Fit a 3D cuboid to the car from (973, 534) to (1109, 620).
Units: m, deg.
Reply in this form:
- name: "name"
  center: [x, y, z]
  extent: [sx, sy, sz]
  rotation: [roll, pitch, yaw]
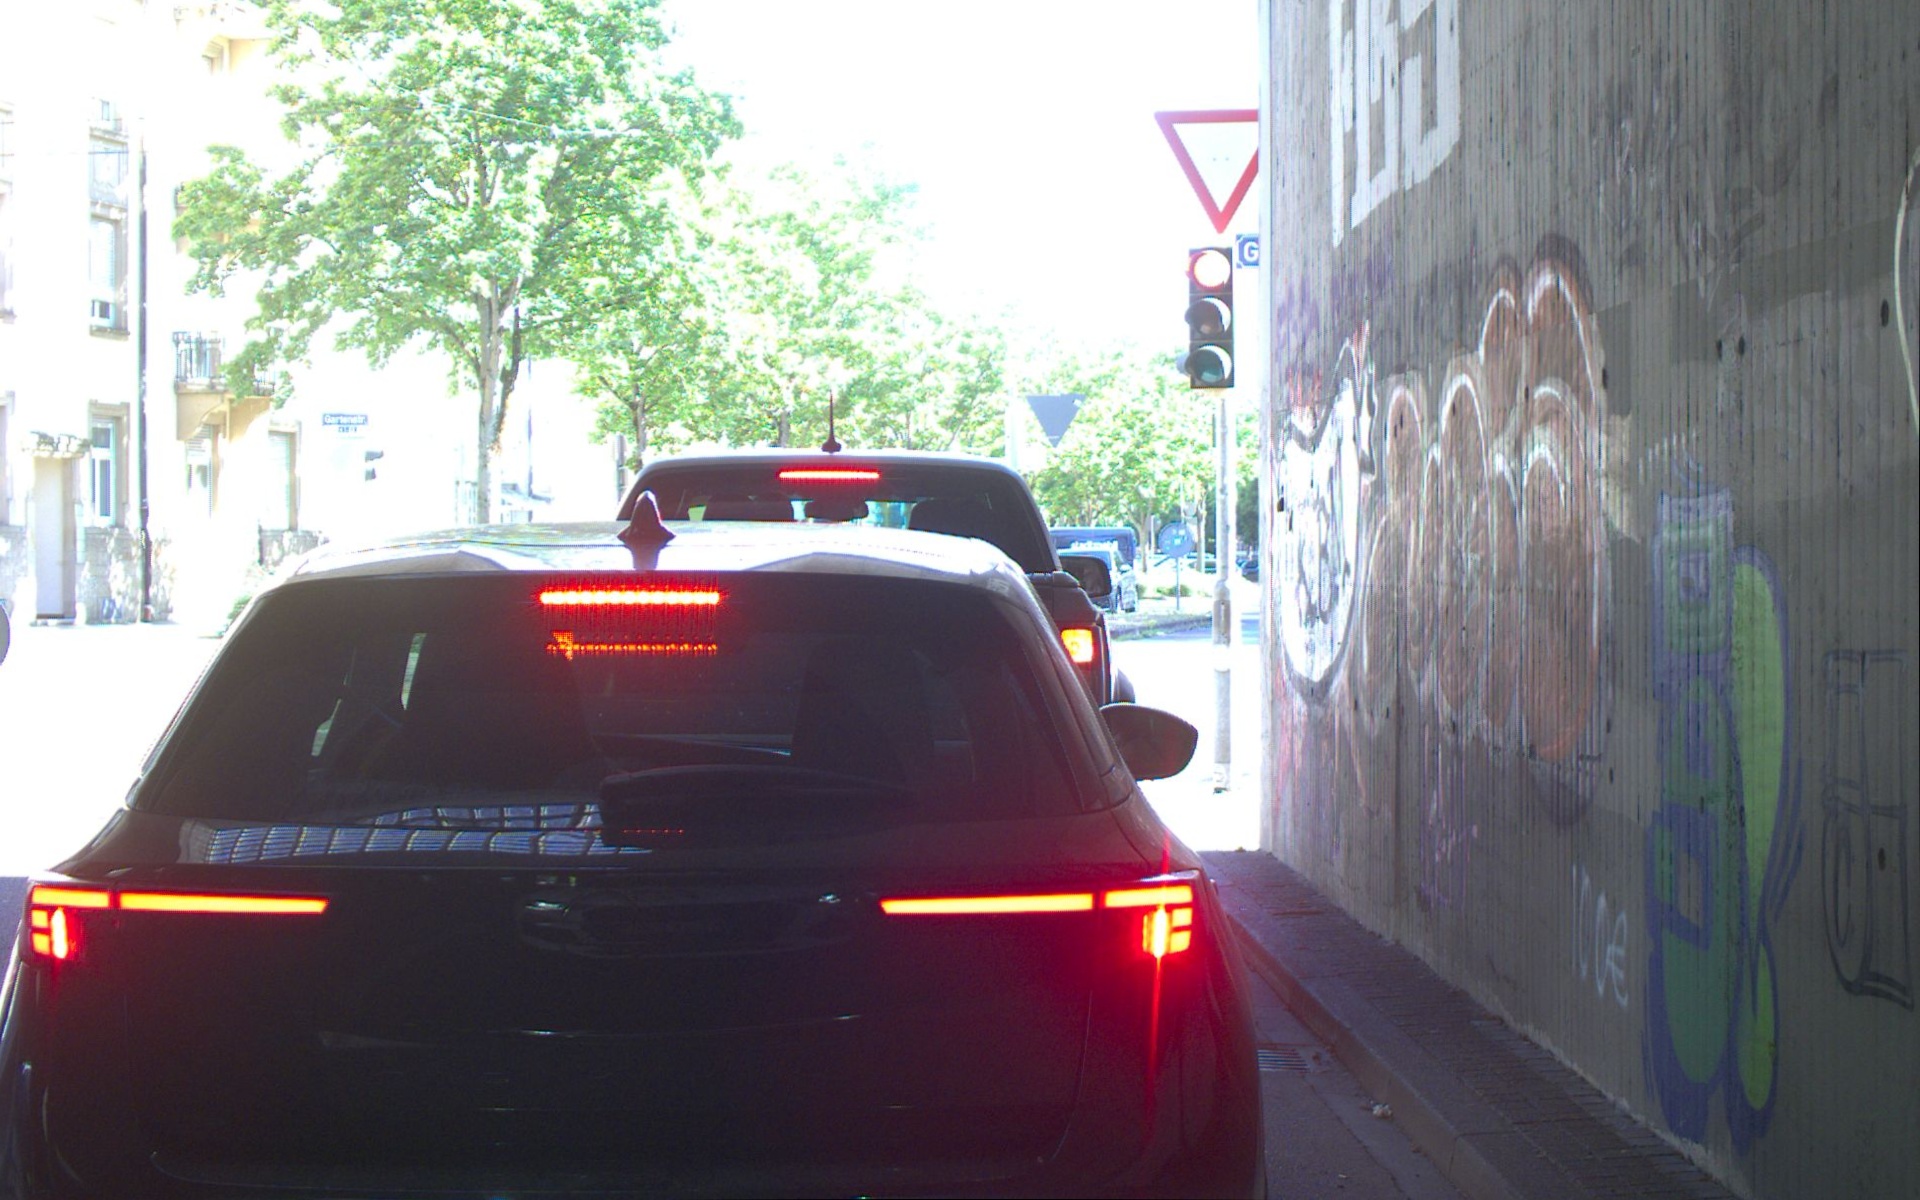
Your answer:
- name: "car"
  center: [1.507, -0.389, 62.216]
  extent: [1.969, 1.492, 3.895]
  rotation: [0, -1, 9]

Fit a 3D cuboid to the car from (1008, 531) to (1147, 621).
- name: "car"
  center: [2.392, -0.445, 69.026]
  extent: [2.221, 1.713, 4.458]
  rotation: [0, -1, 9]

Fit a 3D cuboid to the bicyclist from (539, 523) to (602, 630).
- name: "bicyclist"
  center: [-5.837, -0.355, 51.561]
  extent: [0.729, 1.576, 0.814]
  rotation: [1, 0, 9]

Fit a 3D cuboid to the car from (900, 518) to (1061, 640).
- name: "car"
  center: [0.300, -0.237, 44.194]
  extent: [1.968, 1.492, 3.896]
  rotation: [0, -1, 1]

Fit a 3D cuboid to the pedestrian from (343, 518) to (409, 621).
- name: "pedestrian"
  center: [-11.499, -0.611, 67.705]
  extent: [0.992, 2.007, 1.088]
  rotation: [0, 1, 8]

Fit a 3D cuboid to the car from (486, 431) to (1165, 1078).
- name: "car"
  center: [-0.408, 0.410, 11.912]
  extent: [1.945, 1.853, 3.964]
  rotation: [0, 1, -1]

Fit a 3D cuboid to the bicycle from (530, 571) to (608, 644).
- name: "bicycle"
  center: [-5.855, 0.101, 51.535]
  extent: [0.732, 1.064, 1.688]
  rotation: [1, 1, 9]

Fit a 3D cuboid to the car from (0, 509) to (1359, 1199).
- name: "car"
  center: [-0.487, 0.627, 6.090]
  extent: [1.882, 1.532, 3.964]
  rotation: [0, 1, -1]
